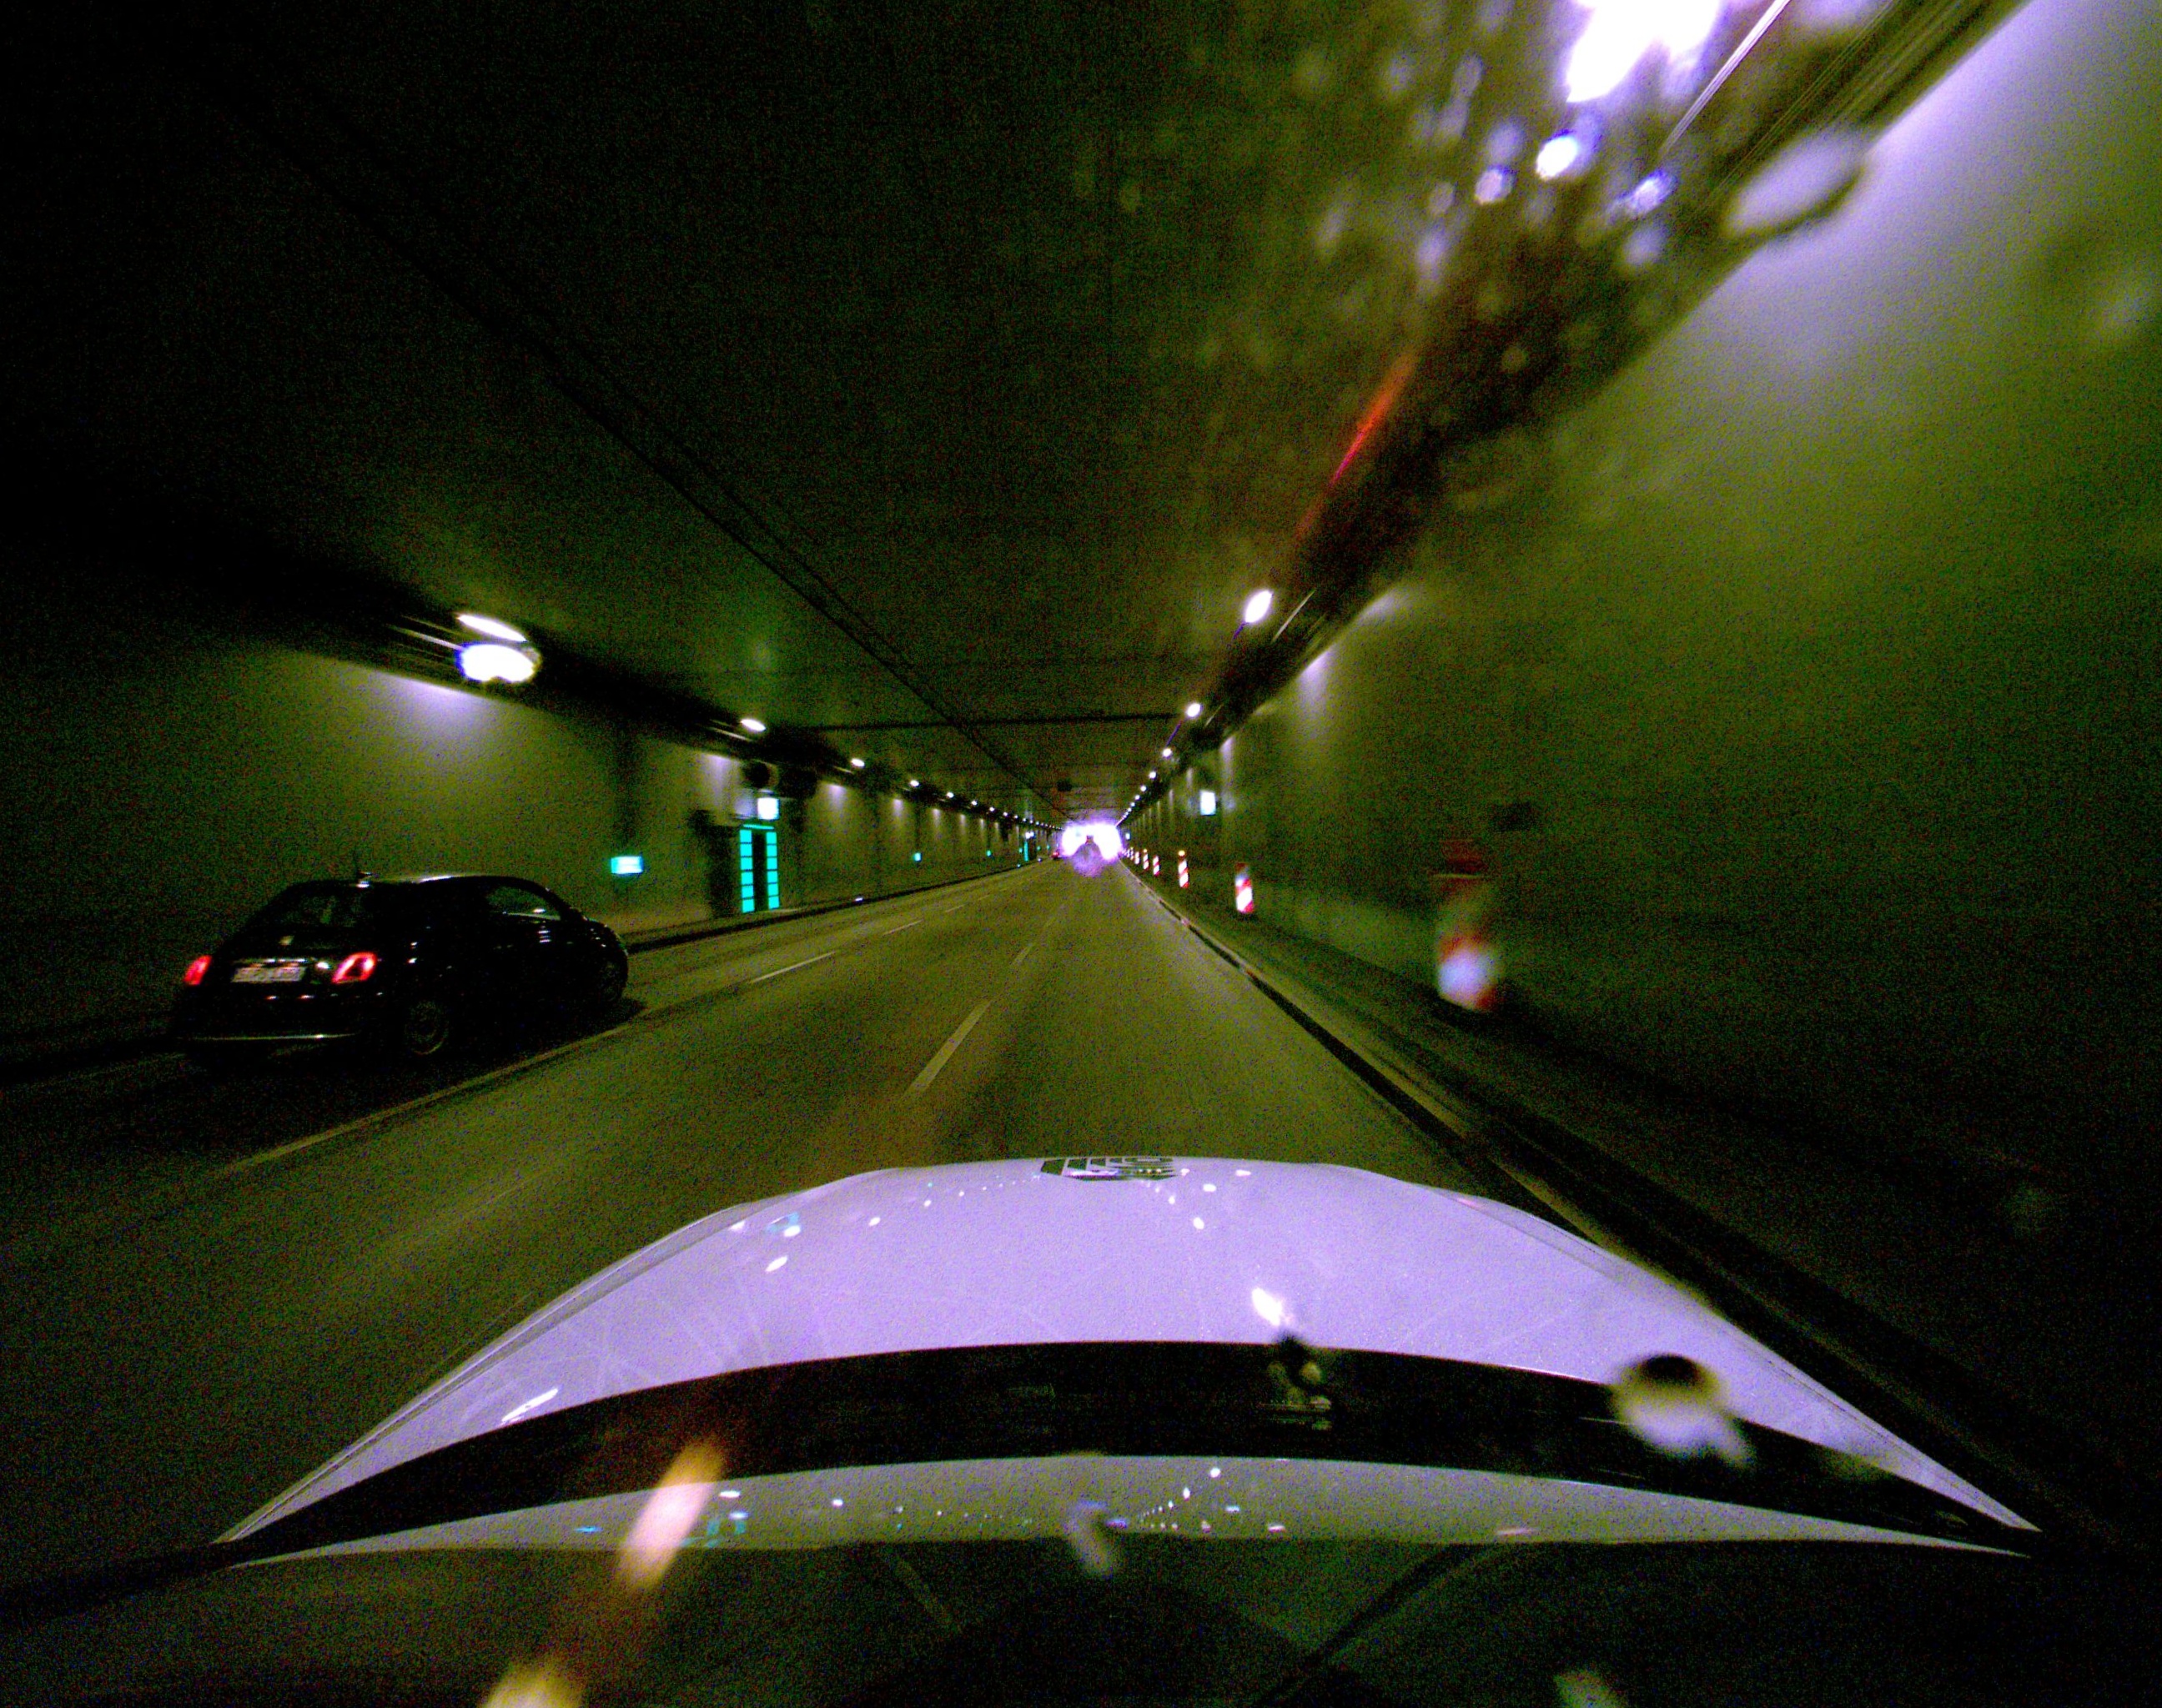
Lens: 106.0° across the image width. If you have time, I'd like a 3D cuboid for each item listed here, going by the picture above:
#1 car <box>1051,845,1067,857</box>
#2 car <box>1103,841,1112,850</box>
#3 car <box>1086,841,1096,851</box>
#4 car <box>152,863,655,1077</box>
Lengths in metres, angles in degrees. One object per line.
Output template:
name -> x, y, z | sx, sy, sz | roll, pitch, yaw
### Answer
car -> -2.827, -0.368, 104.793 | 1.988, 1.448, 4.311 | 0, 0, -2
car -> 6.041, -1.938, 186.085 | 1.986, 2.013, 4.002 | -1, 0, 2
car -> 2.127, -1.731, 169.532 | 1.986, 2.013, 4.002 | -1, 0, 2
car -> -5.768, 0.847, 7.590 | 1.606, 1.454, 3.574 | -1, 0, 2
